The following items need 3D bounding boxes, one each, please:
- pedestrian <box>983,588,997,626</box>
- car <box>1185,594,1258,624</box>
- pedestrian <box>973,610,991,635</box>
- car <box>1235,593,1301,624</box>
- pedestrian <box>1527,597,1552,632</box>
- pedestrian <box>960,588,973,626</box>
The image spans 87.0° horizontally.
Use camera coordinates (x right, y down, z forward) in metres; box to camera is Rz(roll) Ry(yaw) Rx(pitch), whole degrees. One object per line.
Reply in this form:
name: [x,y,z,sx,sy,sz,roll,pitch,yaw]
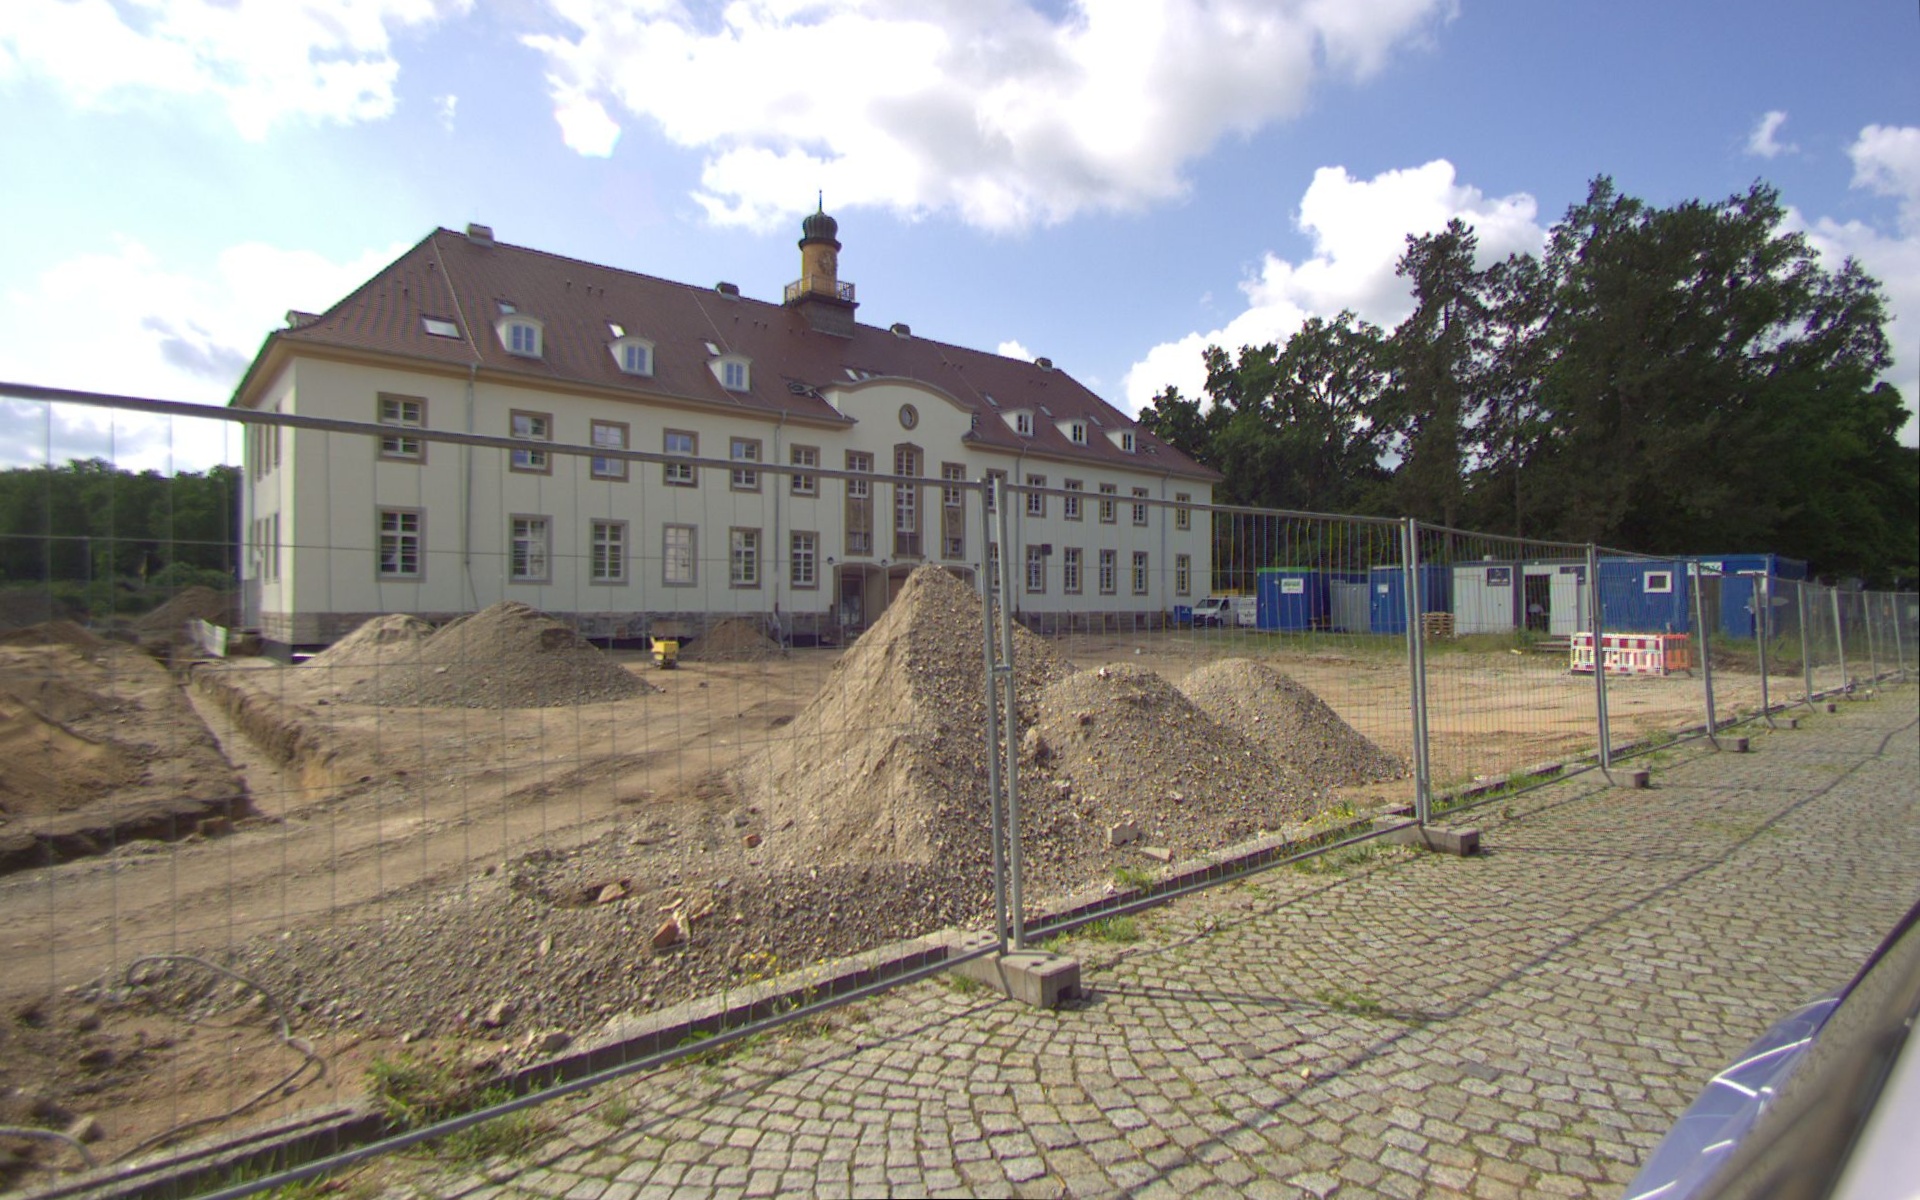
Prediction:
pedestrian: [1.453,0.343,49.444,0.498,1.811,0.490,1,-2,-43]
car: [15.533,0.512,59.989,4.624,1.750,1.883,0,0,-40]
pedestrian: [1.023,1.048,47.371,0.697,1.128,0.490,1,-1,-42]
car: [17.652,0.471,57.915,3.968,1.705,1.801,0,0,-40]
pedestrian: [20.992,0.519,36.641,0.671,1.259,0.602,1,-1,-42]
pedestrian: [0.311,0.344,48.579,0.496,1.811,0.492,0,-1,-18]
